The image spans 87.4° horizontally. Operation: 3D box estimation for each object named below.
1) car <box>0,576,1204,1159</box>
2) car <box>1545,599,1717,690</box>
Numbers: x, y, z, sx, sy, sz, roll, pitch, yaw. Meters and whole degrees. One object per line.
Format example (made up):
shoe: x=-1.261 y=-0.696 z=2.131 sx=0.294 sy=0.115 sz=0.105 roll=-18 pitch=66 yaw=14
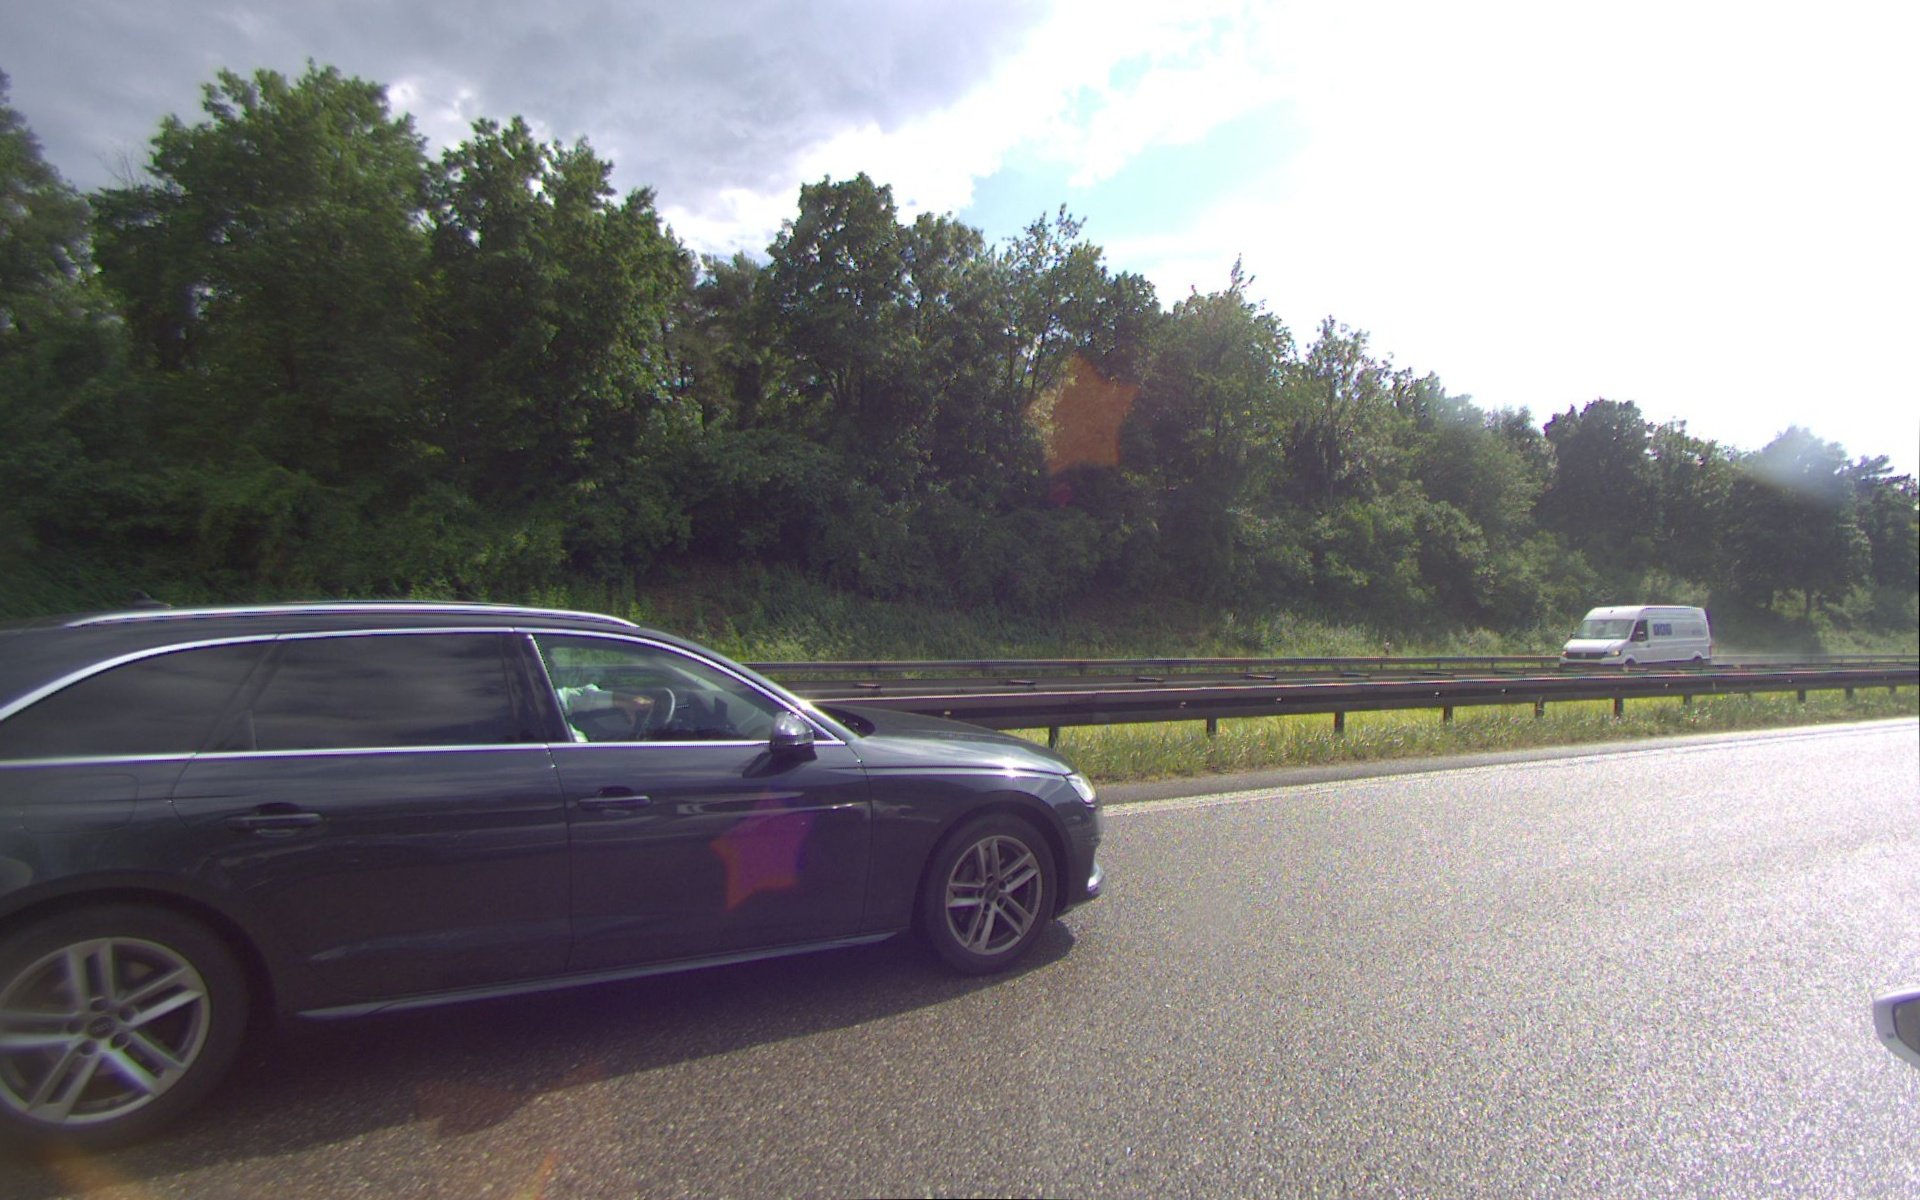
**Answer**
car: x=-1.427 y=0.692 z=4.052 sx=4.782 sy=1.437 sz=1.786 roll=2 pitch=0 yaw=-30
car: x=23.446 y=1.525 z=34.983 sx=6.852 sy=2.908 sz=2.251 roll=2 pitch=0 yaw=-31
